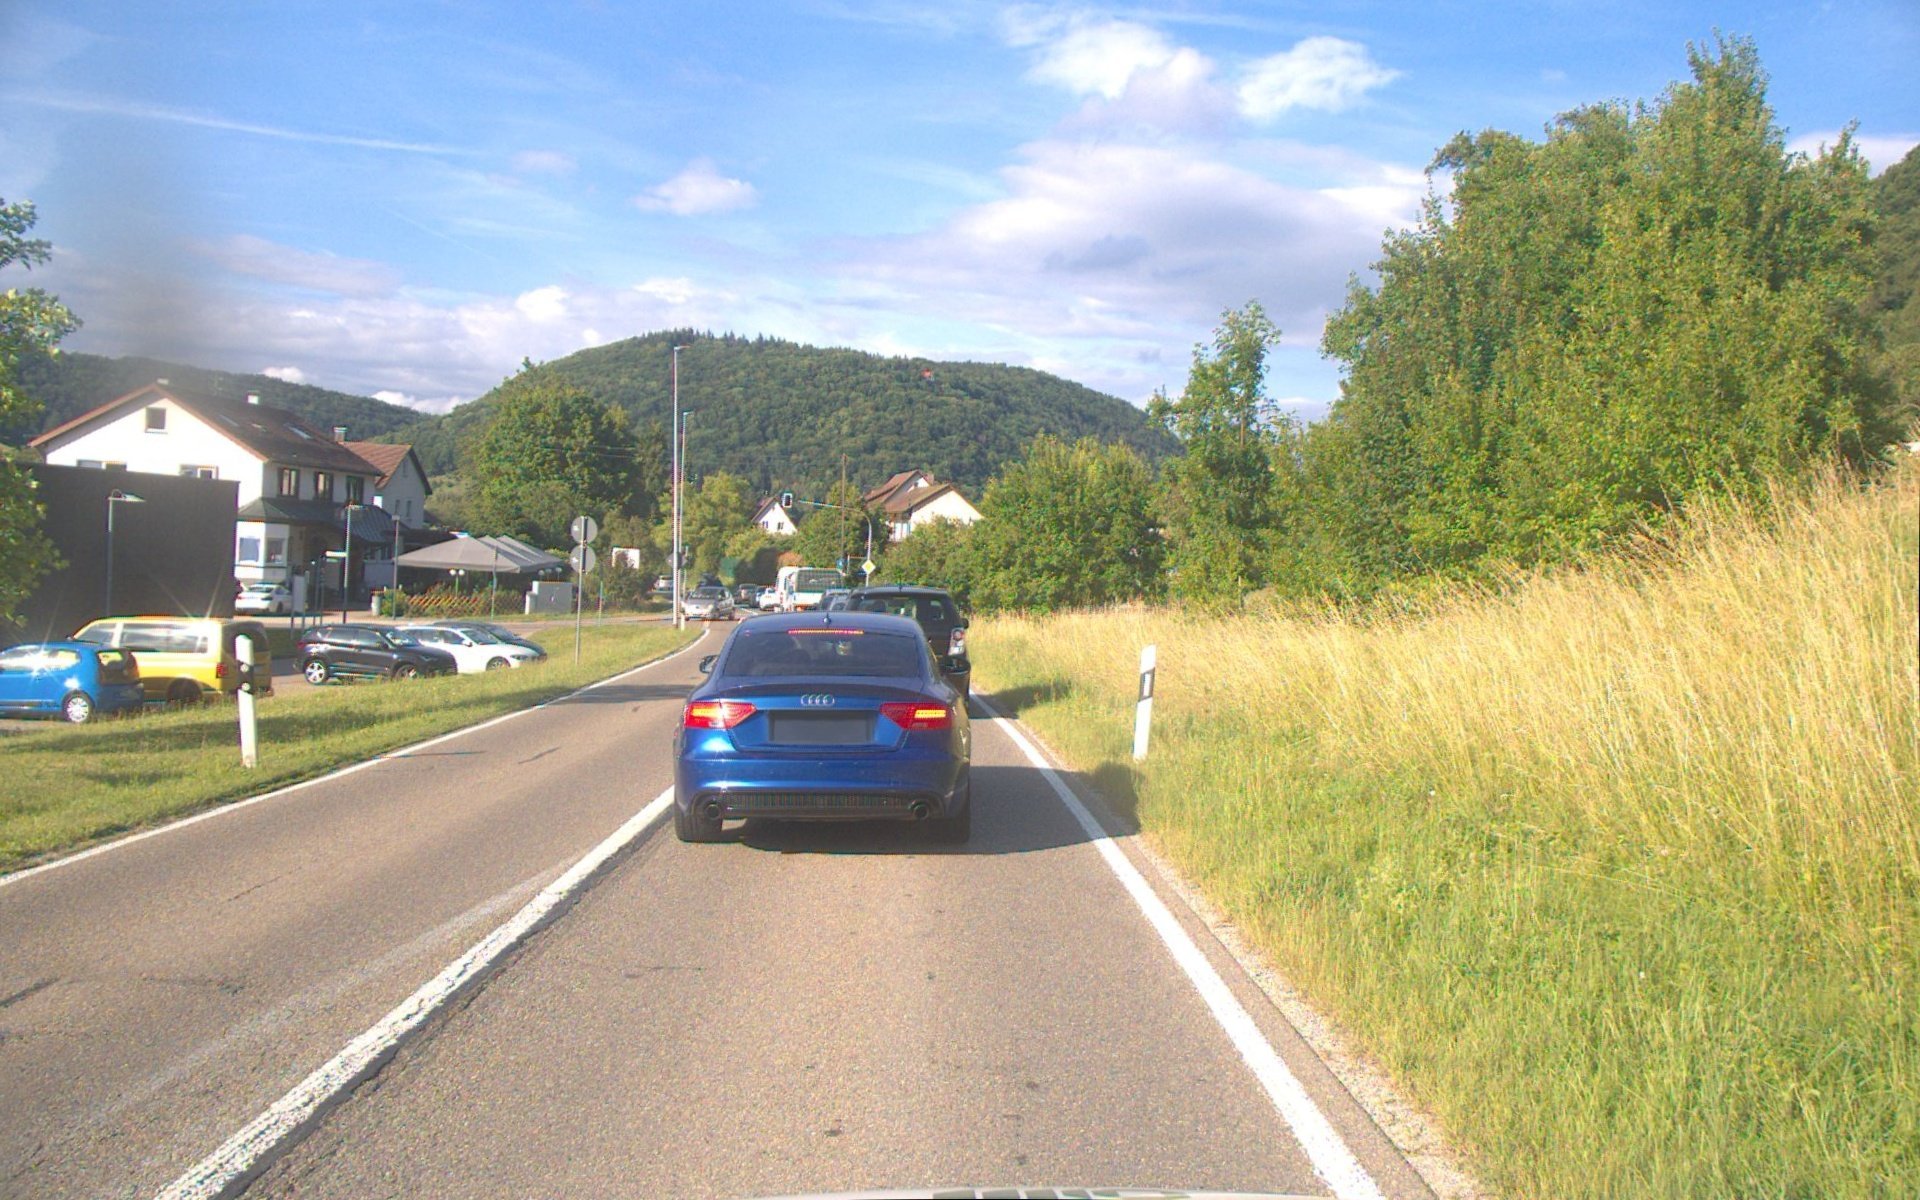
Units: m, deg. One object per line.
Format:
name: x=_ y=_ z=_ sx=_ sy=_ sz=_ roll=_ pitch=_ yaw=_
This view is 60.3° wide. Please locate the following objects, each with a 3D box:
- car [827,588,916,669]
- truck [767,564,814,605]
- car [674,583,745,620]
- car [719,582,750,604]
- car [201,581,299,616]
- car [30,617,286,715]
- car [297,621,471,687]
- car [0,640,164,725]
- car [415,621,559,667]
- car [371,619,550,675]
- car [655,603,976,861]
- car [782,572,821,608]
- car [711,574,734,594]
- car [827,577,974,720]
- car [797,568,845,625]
car: x=-1.925 y=0.621 z=37.259 sx=1.768 sy=1.668 sz=4.462 roll=1 pitch=0 yaw=0
truck: x=-8.766 y=-0.780 z=85.237 sx=1.668 sy=1.988 sz=5.903 roll=1 pitch=0 yaw=-13
car: x=-11.770 y=0.077 z=77.835 sx=1.700 sy=1.691 sz=3.469 roll=1 pitch=-1 yaw=23
car: x=-16.526 y=-0.504 z=121.102 sx=1.670 sy=1.516 sz=3.511 roll=1 pitch=-1 yaw=-16
car: x=-31.641 y=-0.042 z=73.840 sx=1.728 sy=1.467 sz=4.000 roll=1 pitch=-1 yaw=20
car: x=-16.817 y=1.347 z=34.749 sx=4.512 sy=1.900 sz=2.002 roll=1 pitch=-1 yaw=11
car: x=-15.526 y=1.441 z=44.705 sx=3.939 sy=1.666 sz=2.001 roll=1 pitch=-1 yaw=8
car: x=-17.603 y=1.578 z=32.195 sx=3.419 sy=1.498 sz=1.634 roll=1 pitch=-1 yaw=6
car: x=-14.750 y=1.356 z=51.681 sx=3.903 sy=1.333 sz=1.761 roll=1 pitch=-1 yaw=4
car: x=-14.799 y=1.380 z=49.103 sx=4.711 sy=1.520 sz=1.882 roll=1 pitch=-1 yaw=8
car: x=-0.771 y=0.742 z=11.081 sx=1.758 sy=1.412 sz=4.000 roll=0 pitch=0 yaw=0
car: x=-7.693 y=-0.477 z=80.109 sx=1.713 sy=1.668 sz=3.993 roll=1 pitch=0 yaw=-8
car: x=-20.512 y=-1.378 z=142.705 sx=1.598 sy=1.604 sz=3.666 roll=1 pitch=-1 yaw=-13
car: x=-0.689 y=0.592 z=21.632 sx=1.710 sy=1.668 sz=4.000 roll=1 pitch=0 yaw=0
car: x=-5.764 y=-0.136 z=68.304 sx=1.713 sy=2.234 sz=3.993 roll=1 pitch=-1 yaw=-8
